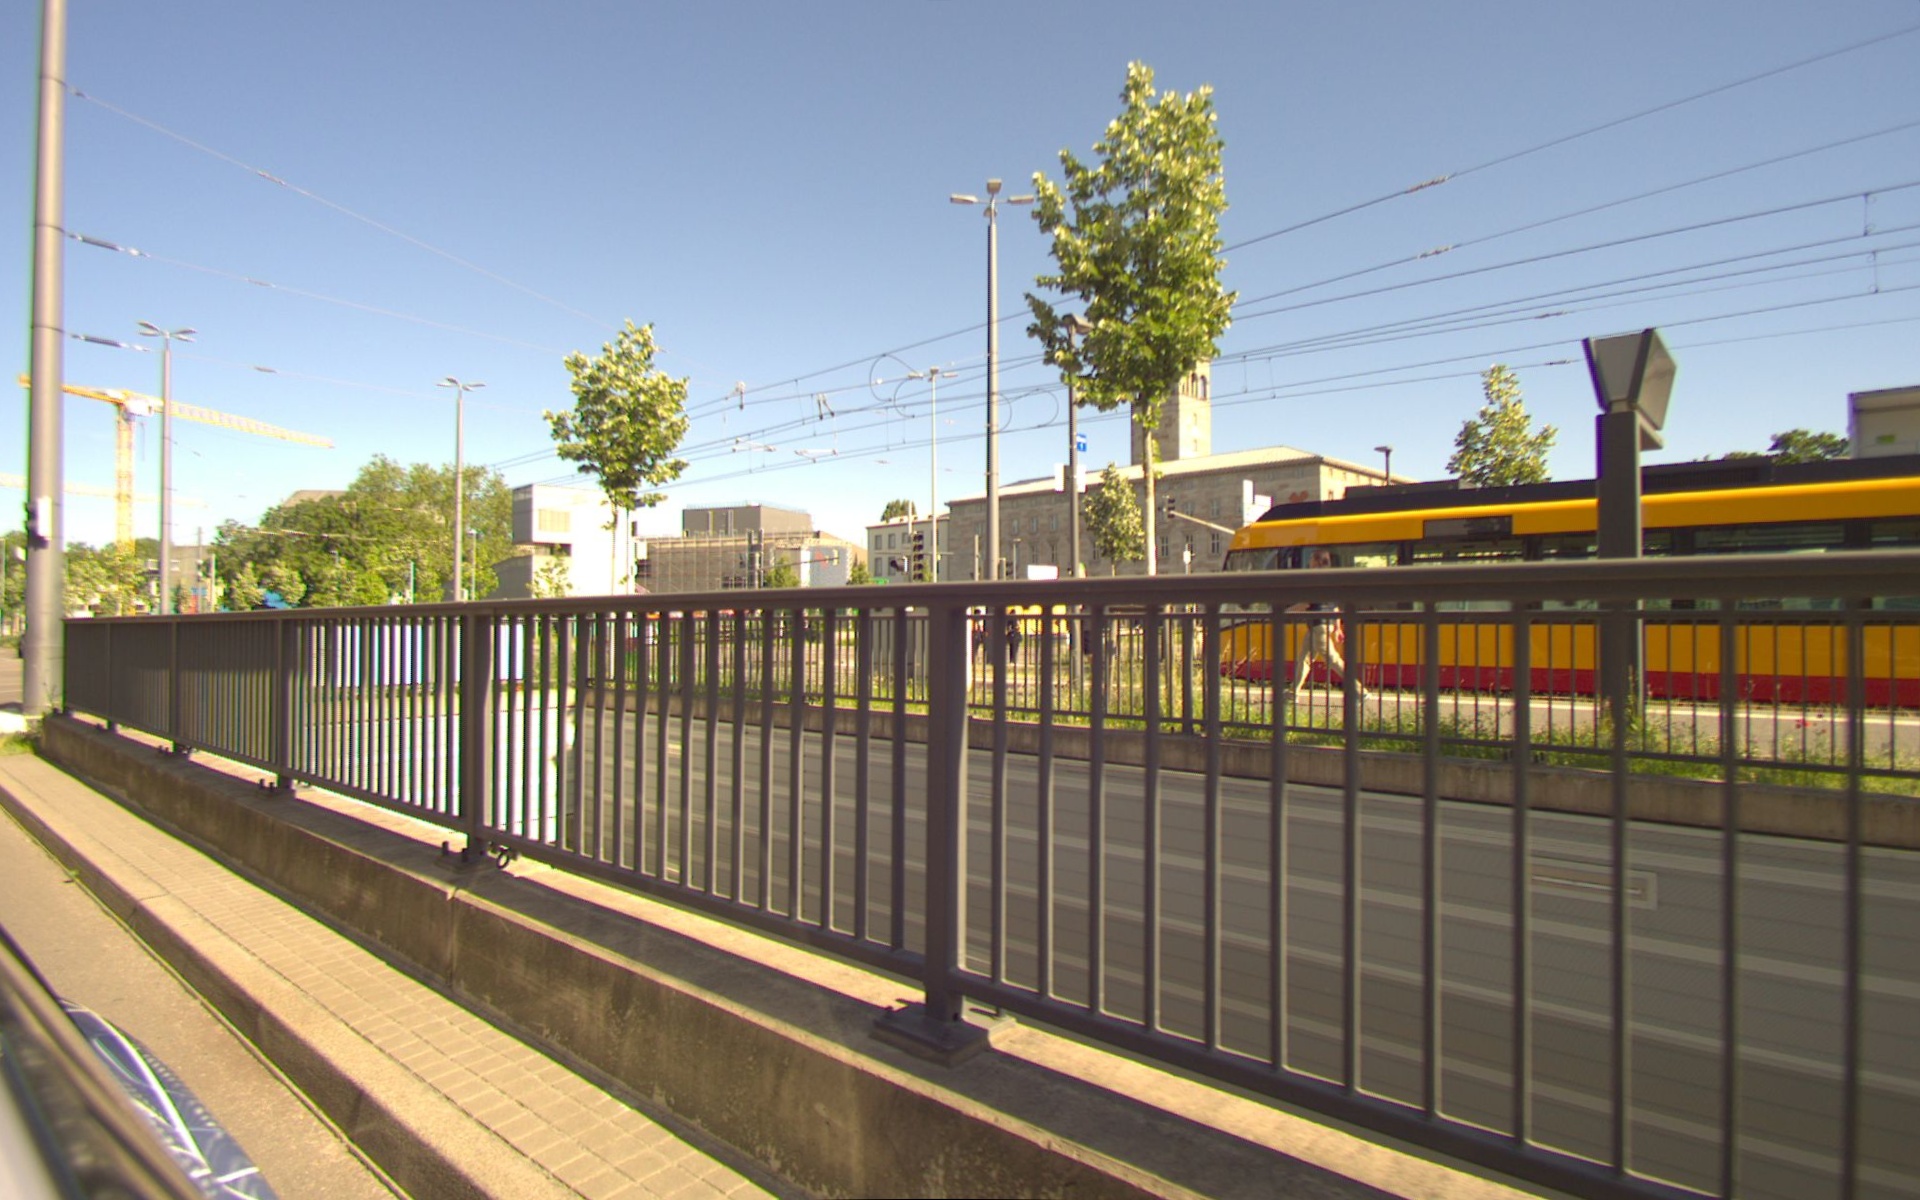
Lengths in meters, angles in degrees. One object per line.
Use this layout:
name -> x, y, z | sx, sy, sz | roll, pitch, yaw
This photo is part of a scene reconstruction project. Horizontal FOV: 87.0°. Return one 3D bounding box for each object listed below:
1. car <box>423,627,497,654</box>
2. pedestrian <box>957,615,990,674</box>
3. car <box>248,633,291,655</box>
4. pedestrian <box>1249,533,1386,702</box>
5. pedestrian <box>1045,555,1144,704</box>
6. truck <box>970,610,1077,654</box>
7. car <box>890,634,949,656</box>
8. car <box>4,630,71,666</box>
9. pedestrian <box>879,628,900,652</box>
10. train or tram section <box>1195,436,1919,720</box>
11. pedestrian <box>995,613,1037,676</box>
car -> -30.187, 2.430, 61.105 | 4.819, 1.573, 1.976 | -2, -2, 36
pedestrian -> 0.421, 1.387, 31.726 | 0.789, 1.837, 0.884 | 0, -2, -16
car -> -58.034, 3.675, 85.016 | 4.558, 1.720, 1.972 | -2, -2, 42
pedestrian -> 4.042, 0.204, 11.459 | 1.187, 1.788, 0.865 | -3, -1, 38
pedestrian -> 1.683, 0.371, 12.723 | 0.958, 1.788, 0.696 | -3, -1, 38
truck -> 4.342, 2.111, 67.759 | 7.913, 2.814, 2.465 | 1, -2, -44
car -> -2.901, 3.227, 72.799 | 3.940, 1.551, 1.905 | 1, -2, -44
car -> -44.934, 2.320, 49.269 | 4.083, 1.600, 1.753 | -2, -1, 38
pedestrian -> -5.274, 2.981, 75.501 | 0.947, 1.698, 1.179 | -4, -3, 42
train or tram section -> 10.068, -0.208, 14.830 | 13.066, 3.335, 2.841 | -2, -1, 41
pedestrian -> 1.690, 1.329, 30.376 | 0.975, 1.837, 0.792 | -2, -3, 39
